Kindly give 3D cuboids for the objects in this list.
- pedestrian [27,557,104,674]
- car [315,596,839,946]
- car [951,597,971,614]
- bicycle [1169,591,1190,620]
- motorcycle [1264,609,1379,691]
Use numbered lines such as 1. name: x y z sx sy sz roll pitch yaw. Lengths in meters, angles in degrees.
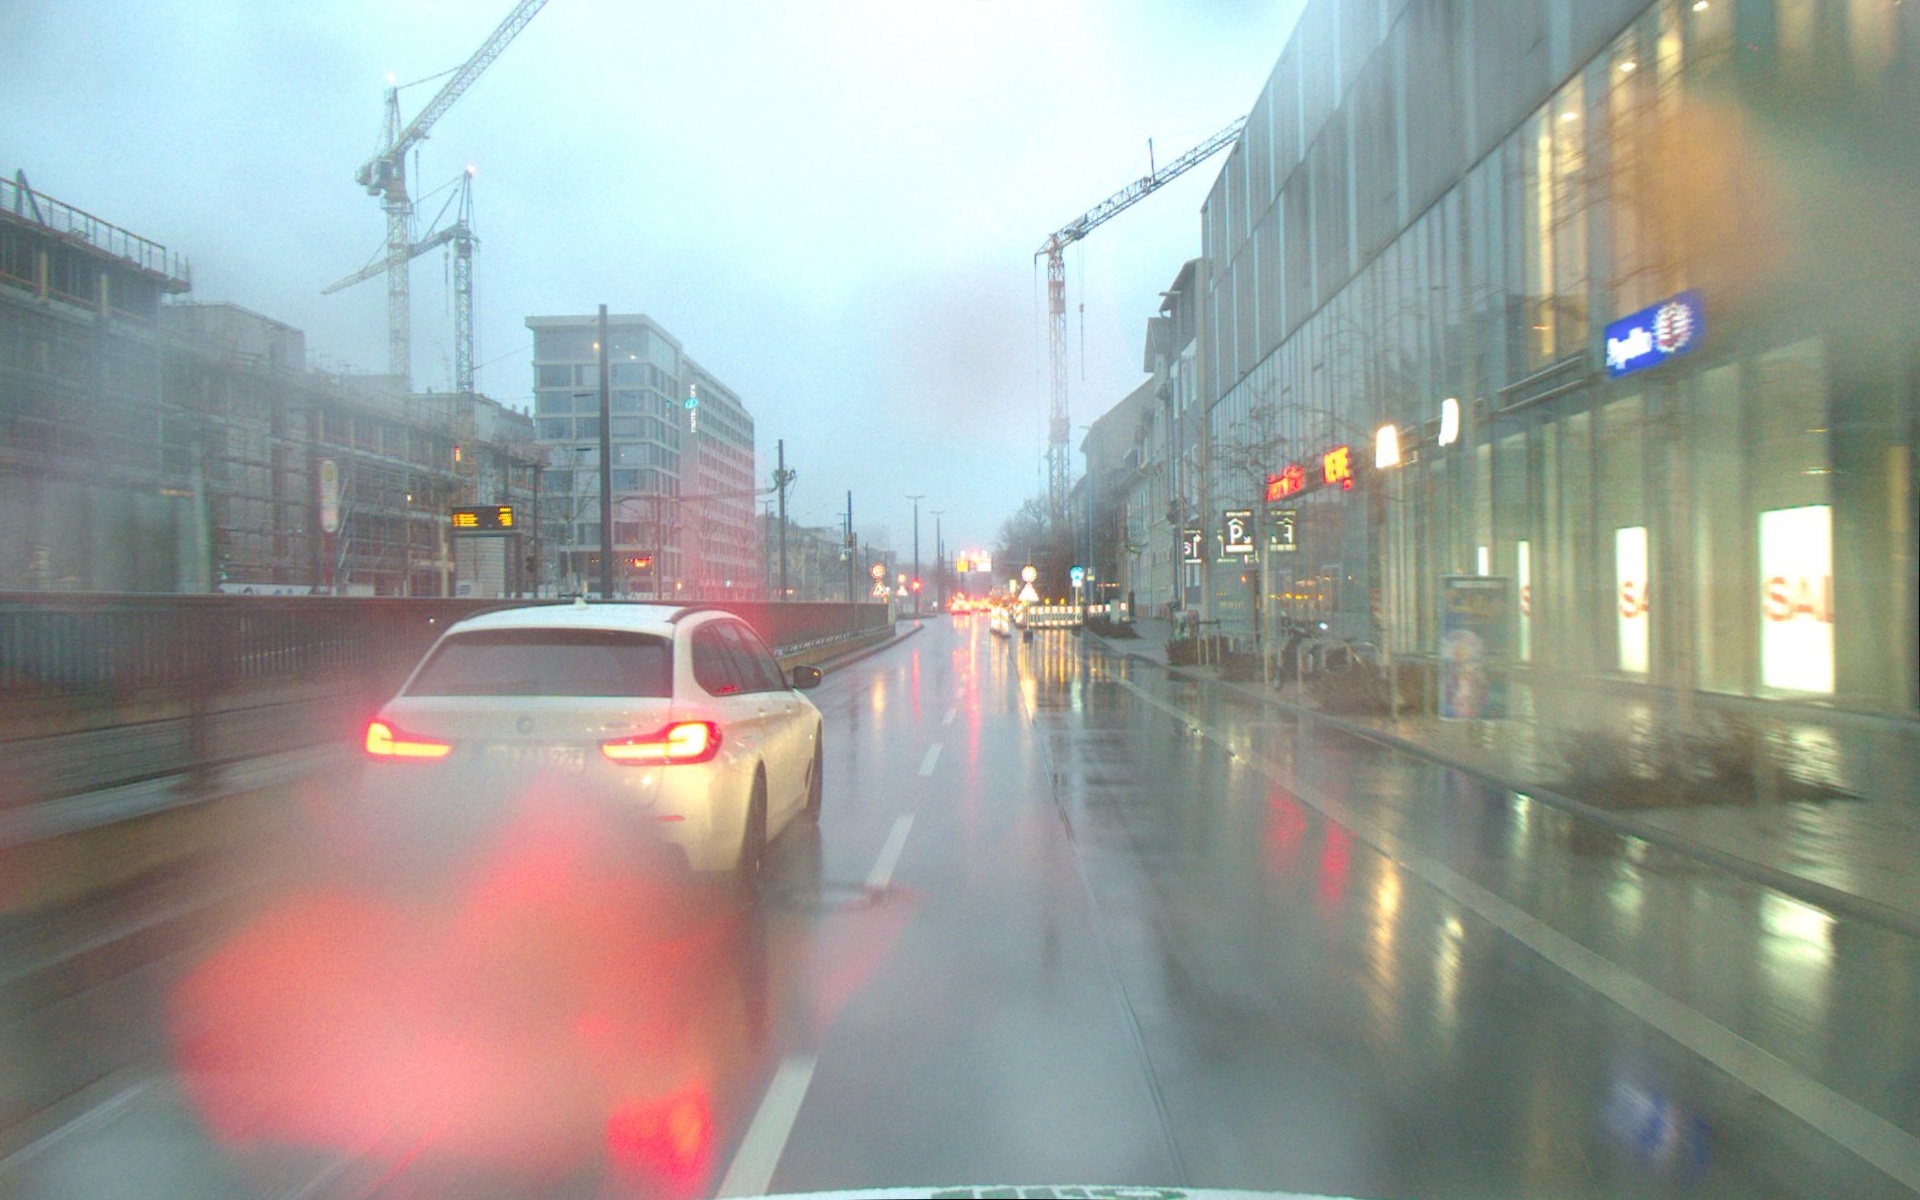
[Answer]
1. pedestrian: -12.264 0.211 22.692 0.571 1.577 0.741 0 0 12
2. car: -1.812 0.728 9.528 1.814 1.491 4.947 0 0 1
3. car: 0.116 0.529 164.650 1.861 1.670 4.001 0 0 1
4. bicycle: 10.011 0.260 75.452 0.668 1.243 1.905 -3 0 0
5. motorcycle: 6.197 0.854 28.444 1.875 1.357 0.592 -2 -2 42
